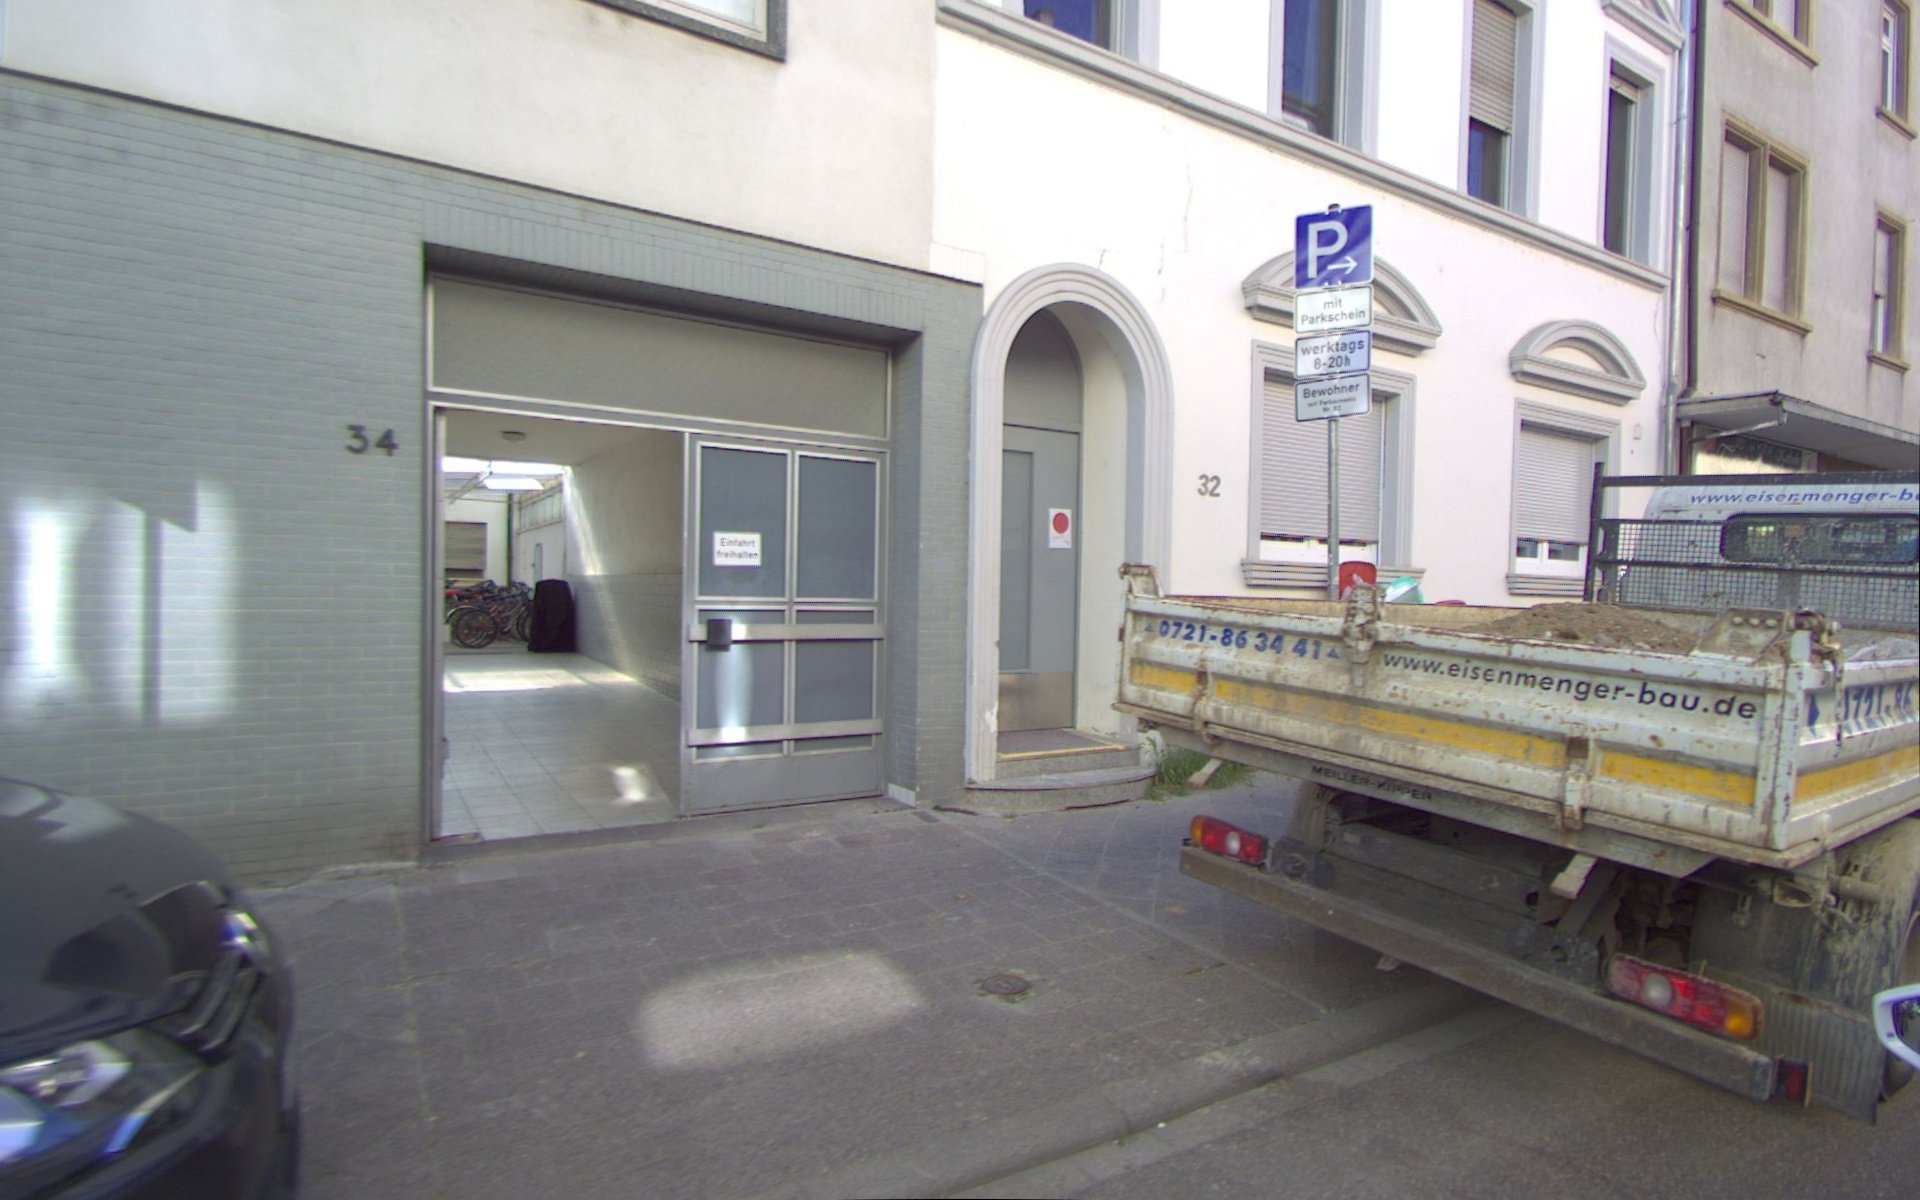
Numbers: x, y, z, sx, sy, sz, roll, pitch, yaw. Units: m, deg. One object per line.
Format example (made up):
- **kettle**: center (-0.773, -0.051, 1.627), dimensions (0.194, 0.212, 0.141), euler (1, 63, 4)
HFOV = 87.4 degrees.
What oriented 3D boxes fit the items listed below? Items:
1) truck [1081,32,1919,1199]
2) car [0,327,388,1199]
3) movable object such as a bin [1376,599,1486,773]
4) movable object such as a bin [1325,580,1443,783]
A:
- **truck**: center (3.585, 0.238, 4.756), dimensions (6.191, 2.624, 2.141), euler (2, 0, -37)
- **car**: center (-3.510, 0.535, 0.852), dimensions (5.184, 1.728, 2.428), euler (1, 1, -32)
- **movable object such as a bin**: center (3.939, 0.690, 8.407), dimensions (0.625, 1.378, 0.558), euler (1, 0, -31)
- **movable object such as a bin**: center (3.404, 0.624, 8.089), dimensions (0.580, 1.553, 0.636), euler (1, 0, -31)
